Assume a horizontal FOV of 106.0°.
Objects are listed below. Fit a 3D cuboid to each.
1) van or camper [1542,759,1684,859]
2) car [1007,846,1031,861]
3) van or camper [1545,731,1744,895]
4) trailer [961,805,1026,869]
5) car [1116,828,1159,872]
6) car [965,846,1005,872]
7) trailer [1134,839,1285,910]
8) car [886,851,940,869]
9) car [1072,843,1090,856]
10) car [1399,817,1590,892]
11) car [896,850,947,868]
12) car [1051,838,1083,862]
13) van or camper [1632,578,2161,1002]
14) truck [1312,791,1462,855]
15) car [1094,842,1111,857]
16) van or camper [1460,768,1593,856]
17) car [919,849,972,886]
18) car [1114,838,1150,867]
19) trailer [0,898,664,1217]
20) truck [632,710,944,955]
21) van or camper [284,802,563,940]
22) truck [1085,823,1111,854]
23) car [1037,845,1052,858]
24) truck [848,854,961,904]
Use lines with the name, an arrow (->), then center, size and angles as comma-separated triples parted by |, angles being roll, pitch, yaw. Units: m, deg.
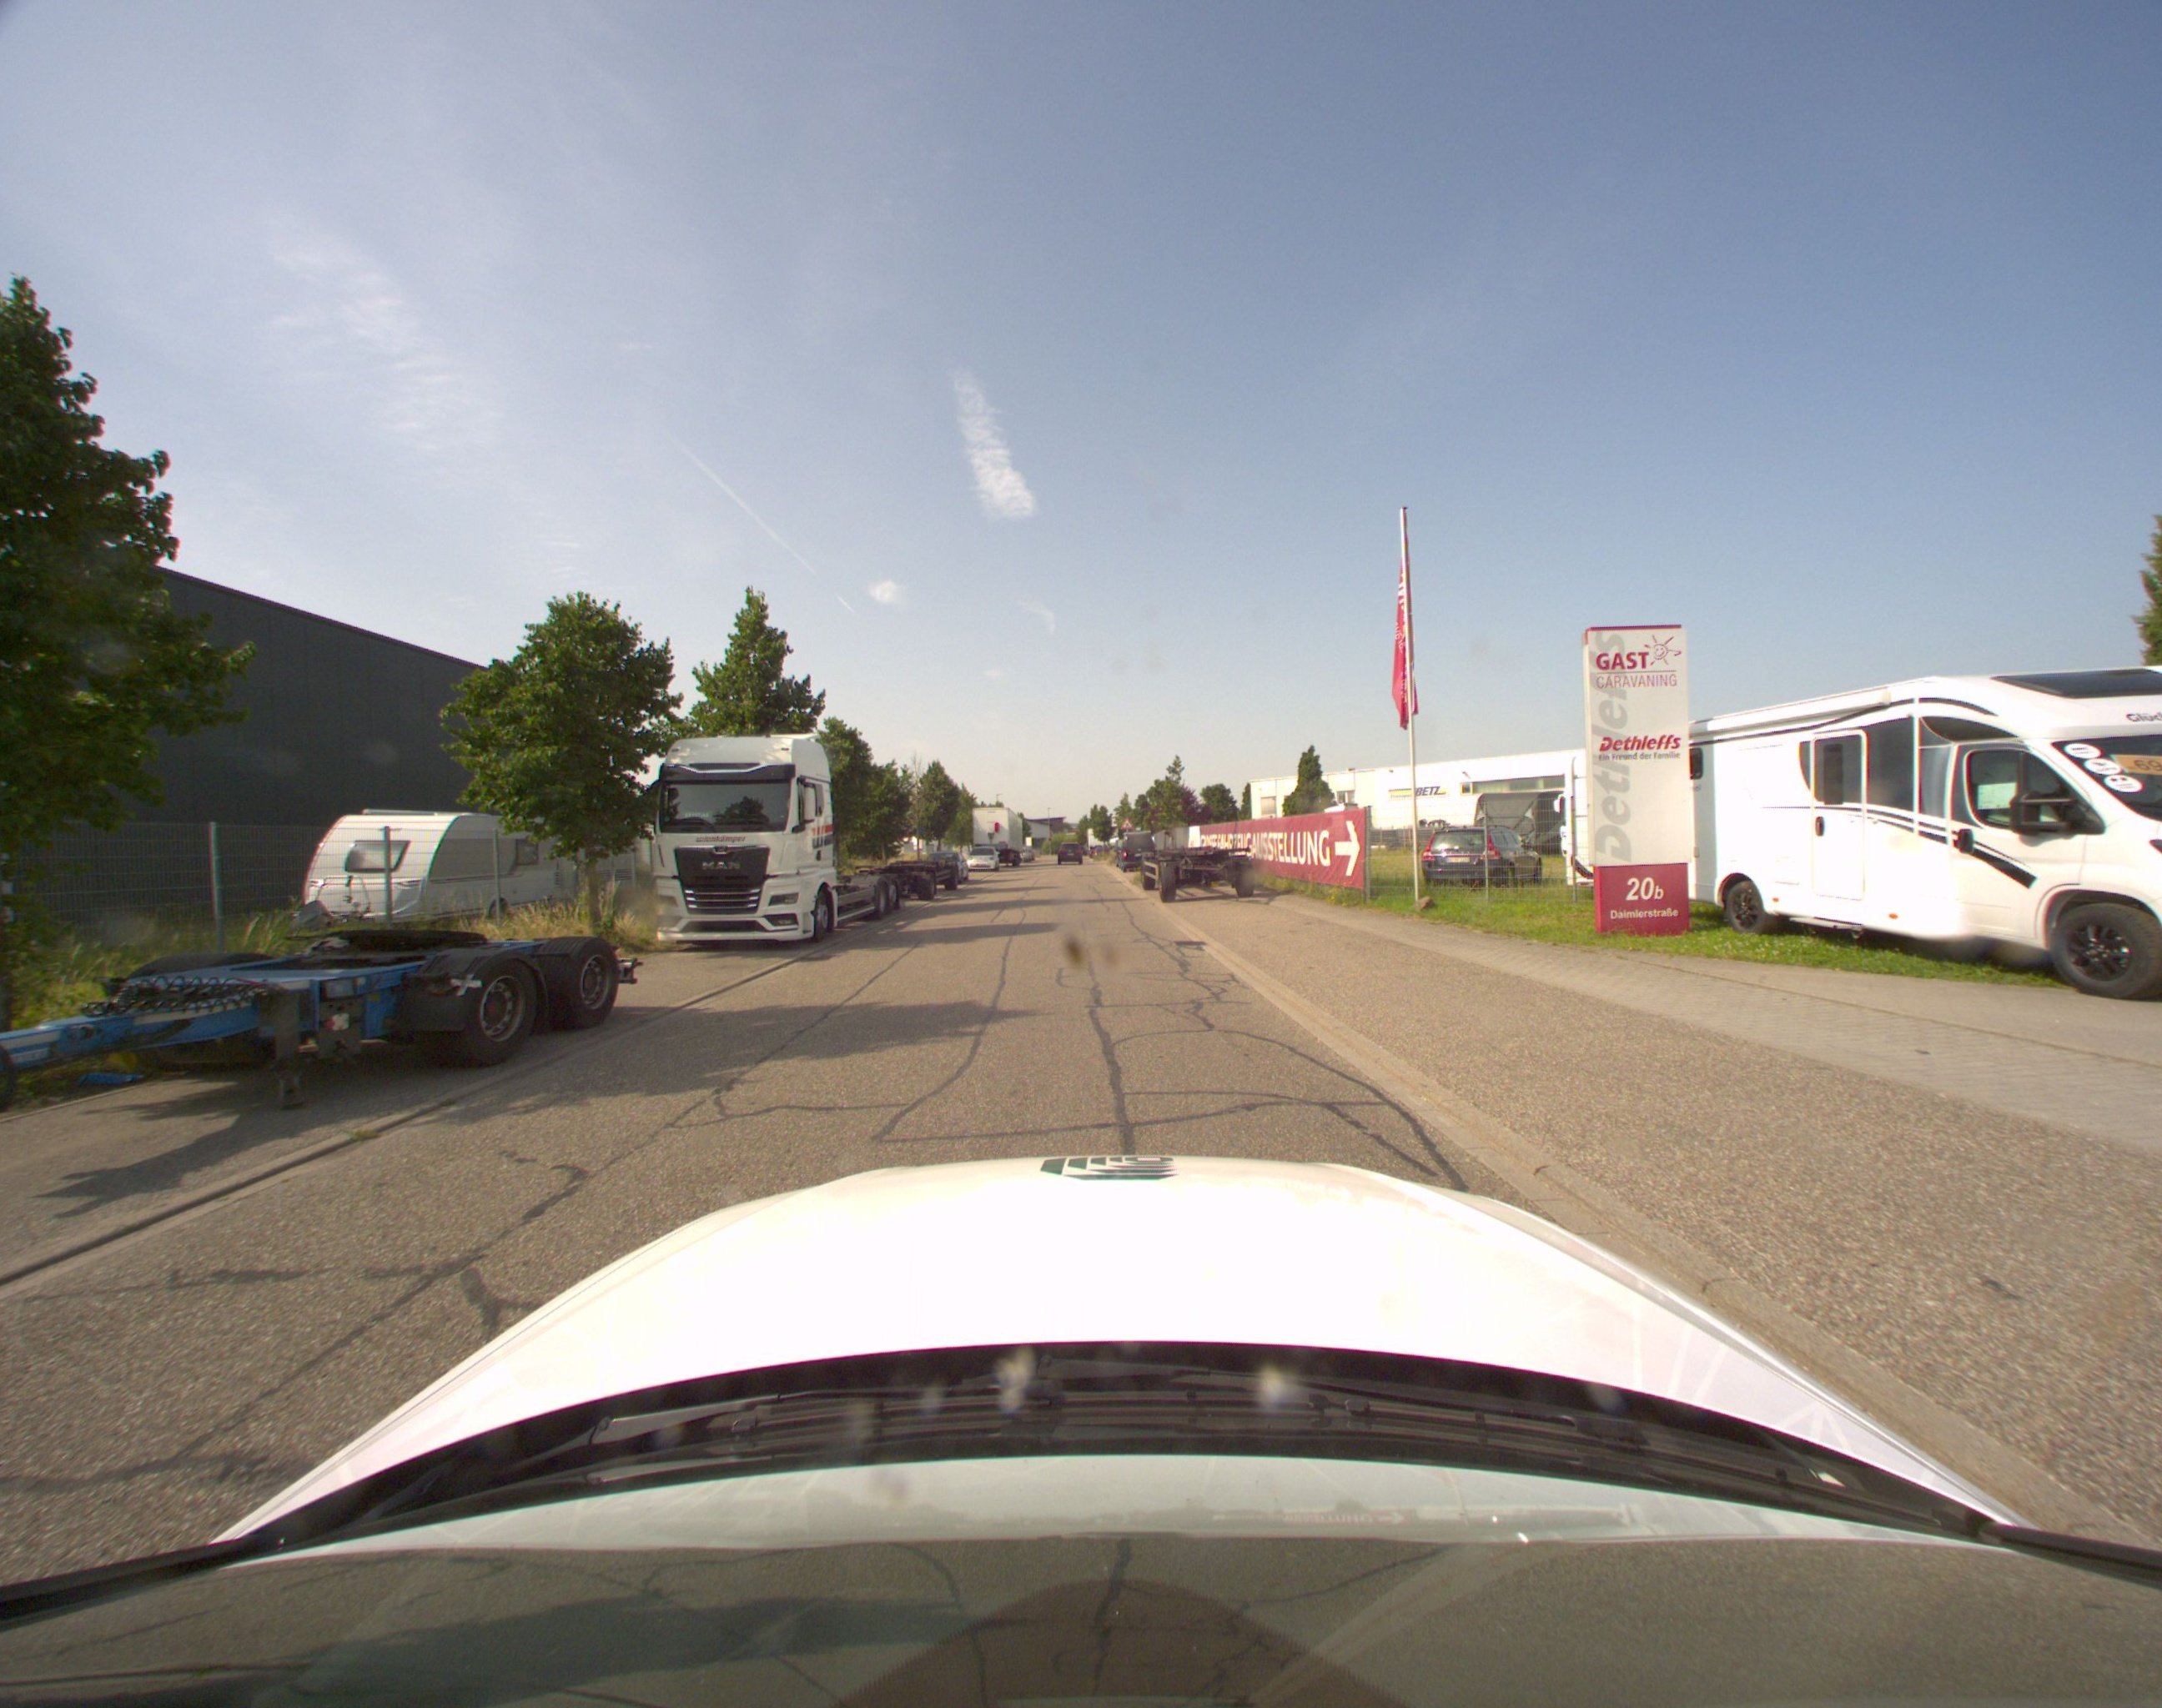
van or camper -> 19.326, -1.593, 29.322 | 2.772, 3.083, 8.019 | -1, 2, 44
car -> -6.754, -0.040, 88.652 | 1.985, 1.523, 4.004 | -2, 1, 3
van or camper -> 11.941, -0.825, 16.969 | 2.460, 2.751, 6.667 | -1, 2, 43
trailer -> -6.534, -1.281, 63.475 | 3.393, 4.339, 13.918 | -2, 1, 0
car -> 2.783, -0.243, 41.028 | 1.812, 1.978, 4.001 | -6, 1, 1
car -> -5.768, 0.273, 49.265 | 1.804, 1.427, 4.001 | -2, 1, 1
trailer -> 3.205, 0.394, 23.123 | 2.615, 1.388, 9.452 | -5, 1, -1
car -> -13.810, 0.489, 67.121 | 3.967, 1.340, 1.620 | -2, 1, 6
car -> 0.037, -0.632, 120.034 | 1.982, 1.771, 4.010 | -2, 1, 9
car -> 9.702, -0.024, 19.102 | 4.013, 1.476, 2.152 | -3, 1, -31
car -> -13.633, 0.416, 69.690 | 3.967, 1.340, 1.620 | -2, 1, 6
car -> -1.120, -0.339, 63.093 | 1.992, 1.804, 3.990 | 1, 0, -7
van or camper -> 9.066, -0.551, 8.702 | 2.318, 2.943, 6.986 | -2, 1, 7
truck -> 20.742, -2.021, 55.730 | 9.196, 3.972, 2.474 | -1, 1, 42
car -> 2.429, -0.513, 92.384 | 1.812, 1.449, 3.802 | -4, 1, 1
van or camper -> 17.723, -1.663, 32.171 | 6.835, 3.083, 2.638 | -4, 2, -44
car -> -5.979, 0.560, 36.223 | 1.881, 1.436, 3.994 | -3, 1, -4
car -> 2.879, -0.117, 46.555 | 1.812, 1.449, 3.802 | -6, 1, 1
trailer -> -5.849, 1.114, 6.296 | 2.566, 1.100, 5.200 | -2, 1, -1
truck -> -5.871, -0.428, 19.770 | 2.617, 3.928, 12.920 | -2, 1, 1
van or camper -> -14.300, 0.300, 18.257 | 2.300, 2.560, 4.947 | -3, 1, -4
truck -> 2.147, -1.955, 103.281 | 2.877, 3.586, 8.064 | -4, 1, 1
car -> -5.354, -0.410, 119.765 | 1.988, 1.771, 3.999 | -2, 1, -1
truck -> -5.876, 0.763, 28.136 | 2.517, 1.265, 6.524 | -3, 1, -1
